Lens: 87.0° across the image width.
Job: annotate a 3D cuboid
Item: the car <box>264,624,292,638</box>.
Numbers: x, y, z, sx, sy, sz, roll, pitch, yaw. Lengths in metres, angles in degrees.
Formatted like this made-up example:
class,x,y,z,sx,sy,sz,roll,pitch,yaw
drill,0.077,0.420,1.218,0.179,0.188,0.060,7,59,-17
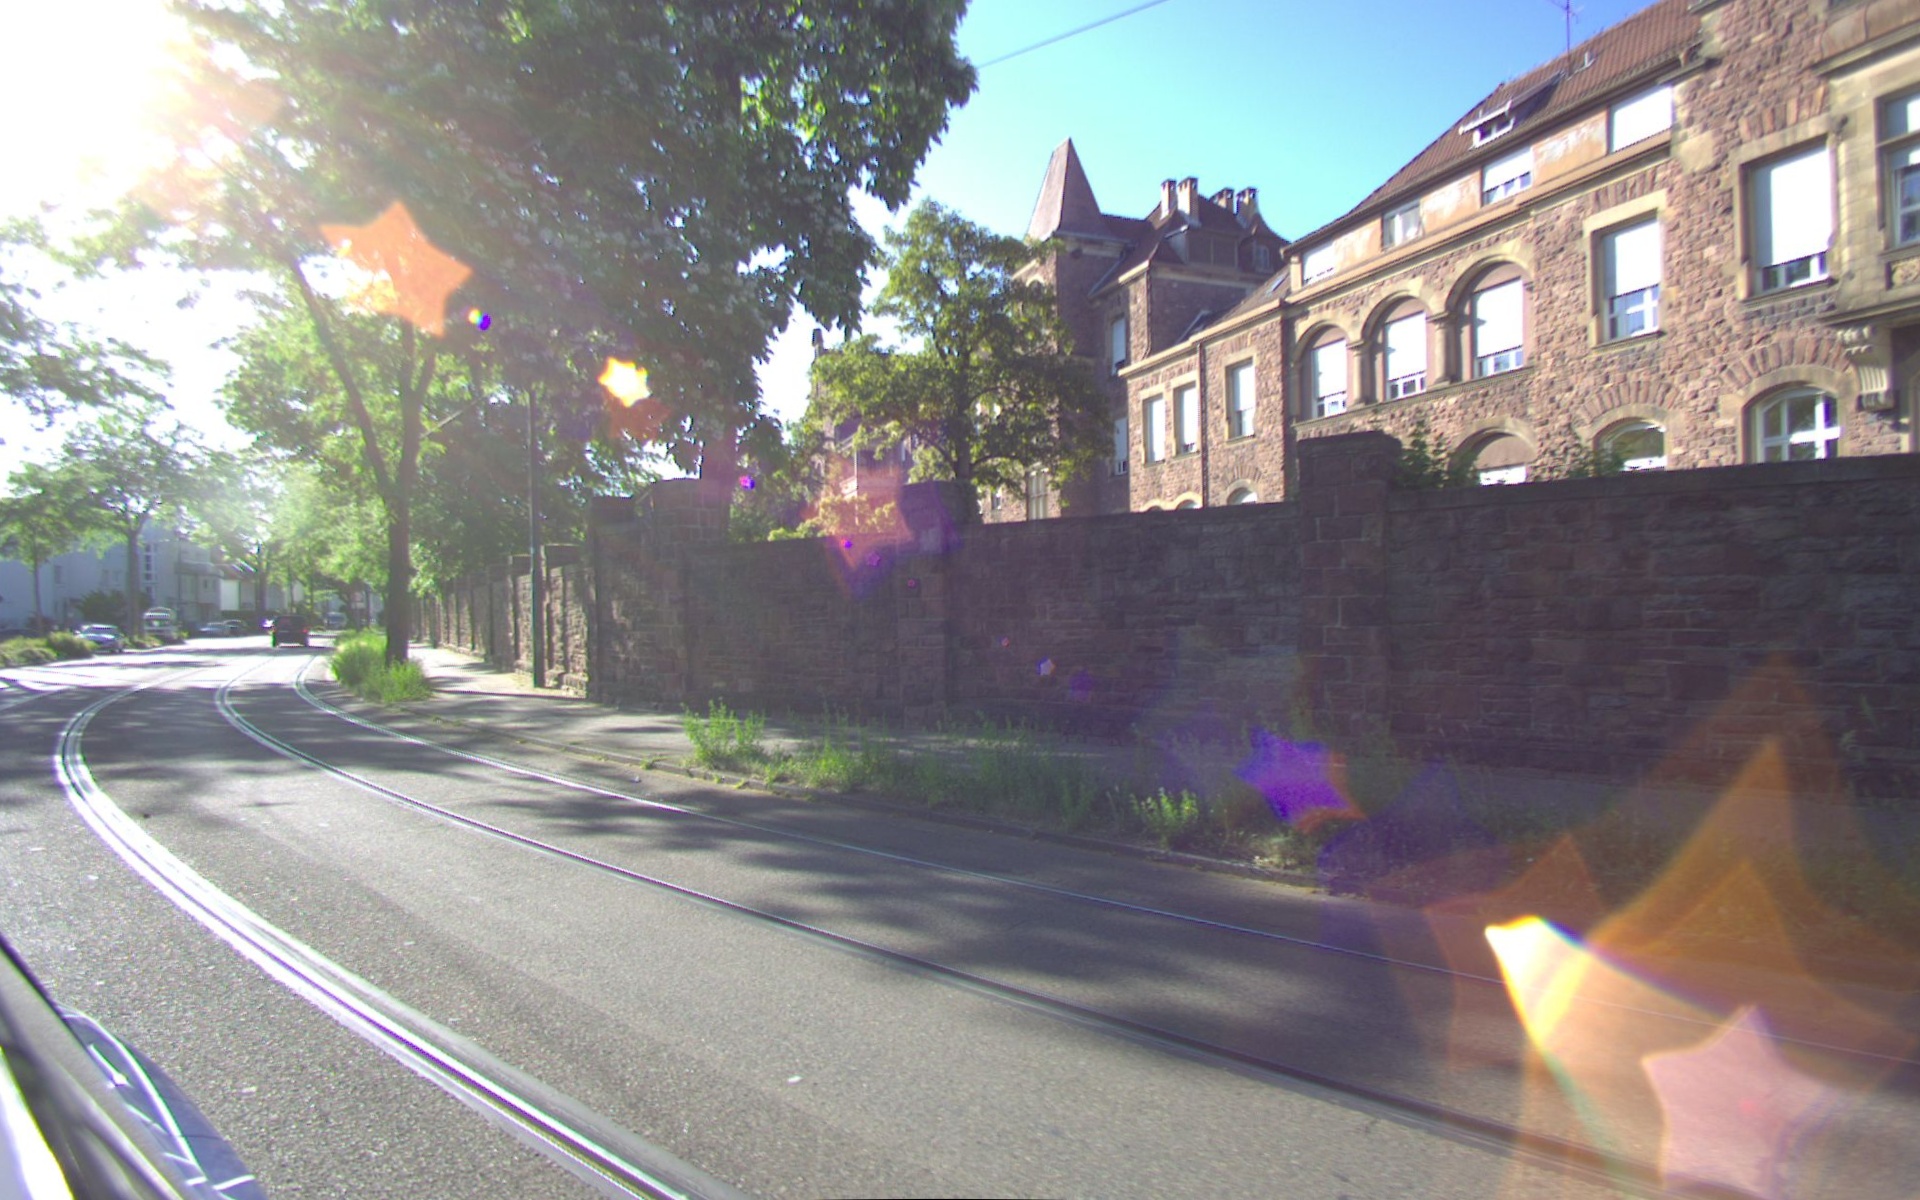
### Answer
class,x,y,z,sx,sy,sz,roll,pitch,yaw
car,-79.641,3.641,118.173,1.849,1.530,4.664,-1,0,-24

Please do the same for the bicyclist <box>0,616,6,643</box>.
class,x,y,z,sx,sy,sz,roll,pitch,yaw
bicyclist,-70.869,2.187,74.548,0.838,2.029,0.827,-1,-2,-44

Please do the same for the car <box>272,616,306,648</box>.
class,x,y,z,sx,sy,sz,roll,pitch,yaw
car,-40.167,1.907,60.617,1.610,1.806,4.350,-1,-1,-33

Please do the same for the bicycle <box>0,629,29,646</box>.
class,x,y,z,sx,sy,sz,roll,pitch,yaw
bicycle,-70.599,2.799,74.748,0.800,1.241,2.626,-3,-1,43

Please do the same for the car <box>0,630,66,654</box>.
class,x,y,z,sx,sy,sz,roll,pitch,yaw
car,-68.360,3.056,73.932,2.008,1.501,4.402,3,2,41

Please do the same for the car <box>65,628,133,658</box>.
class,x,y,z,sx,sy,sz,roll,pitch,yaw
car,-46.115,2.285,54.298,1.973,1.476,5.448,3,-3,-32

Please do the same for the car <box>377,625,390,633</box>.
class,x,y,z,sx,sy,sz,roll,pitch,yaw
car,-108.576,5.417,190.620,1.759,1.387,3.667,-1,0,-21

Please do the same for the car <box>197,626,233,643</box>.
class,x,y,z,sx,sy,sz,roll,pitch,yaw
car,-71.014,3.268,96.550,1.713,1.507,4.545,-1,0,-22

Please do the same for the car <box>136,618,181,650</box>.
class,x,y,z,sx,sy,sz,roll,pitch,yaw
car,-55.476,2.311,70.119,1.966,2.111,4.729,0,-1,-33

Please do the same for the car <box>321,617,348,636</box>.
class,x,y,z,sx,sy,sz,roll,pitch,yaw
car,-91.636,3.815,148.323,2.259,2.609,5.737,-1,0,-22
